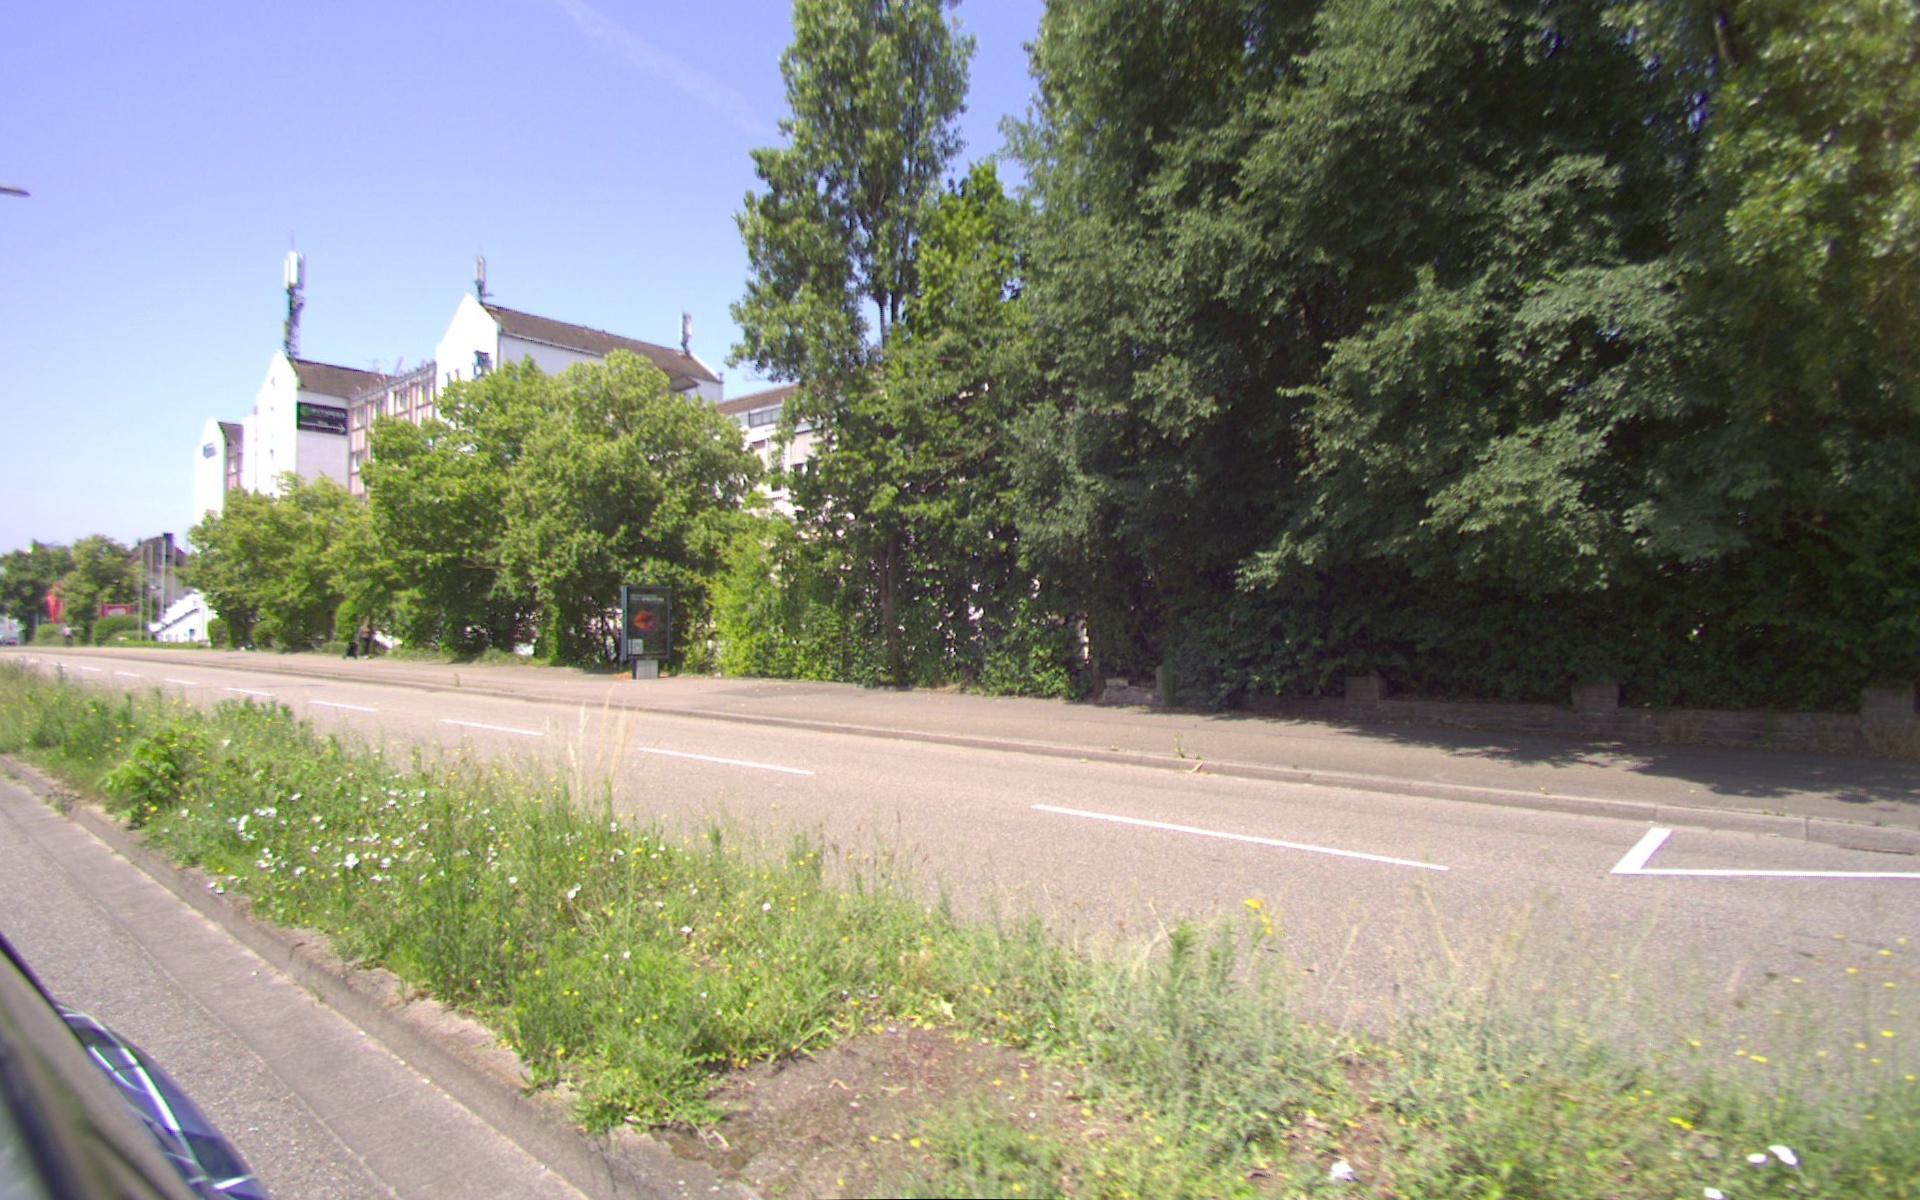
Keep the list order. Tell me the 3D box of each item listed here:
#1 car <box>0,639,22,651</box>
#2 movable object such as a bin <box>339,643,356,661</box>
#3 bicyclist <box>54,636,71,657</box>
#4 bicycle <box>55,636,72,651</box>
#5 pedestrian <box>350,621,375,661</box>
[{"bbox_3d":[-115.114,5.424,122.463,3.994,1.362,1.716,-3,-3,38],"label":"car"},{"bbox_3d":[-24.267,2.070,40.095,0.423,0.711,0.653,2,-3,-41],"label":"movable object such as a bin"},{"bbox_3d":[-65.857,3.419,74.294,1.025,1.528,0.711,-2,-3,37],"label":"bicyclist"},{"bbox_3d":[-65.766,3.183,74.232,2.060,1.081,0.545,-2,-2,38],"label":"bicycle"},{"bbox_3d":[-23.718,1.639,40.159,0.727,1.556,0.626,-2,-3,40],"label":"pedestrian"}]
